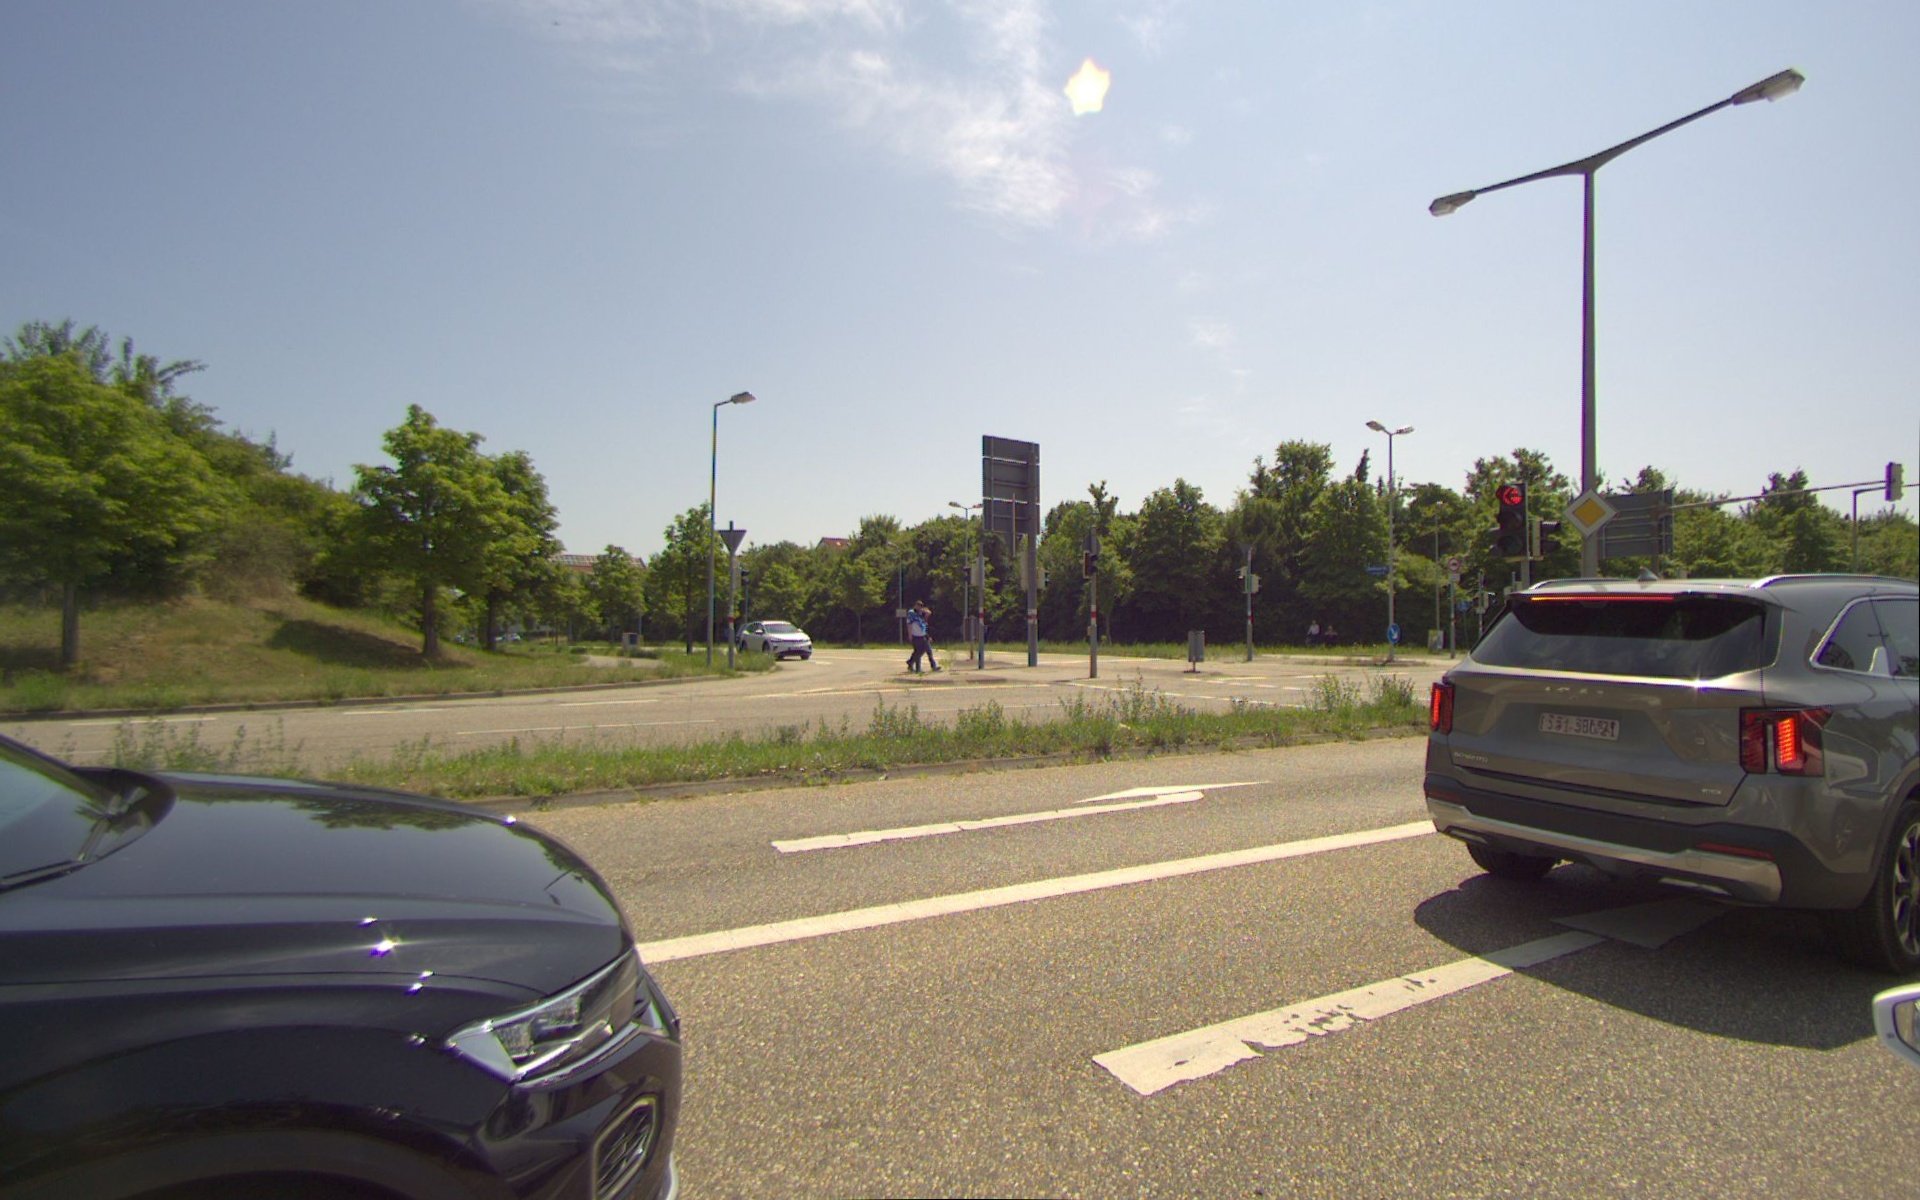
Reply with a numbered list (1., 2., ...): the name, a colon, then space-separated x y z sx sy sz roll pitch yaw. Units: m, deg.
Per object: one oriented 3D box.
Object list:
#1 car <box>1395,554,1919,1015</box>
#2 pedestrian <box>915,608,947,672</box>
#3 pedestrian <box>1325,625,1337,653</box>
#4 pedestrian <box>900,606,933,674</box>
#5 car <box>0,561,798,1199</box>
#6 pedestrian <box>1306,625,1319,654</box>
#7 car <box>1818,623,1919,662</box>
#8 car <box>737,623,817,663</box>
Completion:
1. car: 4.690 0.736 5.633 4.590 1.684 1.795 1 -1 -30
2. pedestrian: -0.805 1.091 27.498 0.761 1.722 0.723 0 -1 -11
3. pedestrian: 20.601 2.174 55.793 0.606 1.523 0.798 0 -1 24
4. pedestrian: -1.153 1.046 26.466 0.779 1.759 0.582 0 -1 -11
5. car: -2.404 0.685 1.436 3.924 1.532 1.726 2 0 -30
6. pedestrian: 19.734 2.187 56.247 0.606 1.624 0.798 -1 -1 24
7. car: 35.659 1.634 39.410 4.119 1.475 1.814 1 -1 -30
8. car: -7.756 1.782 42.314 1.858 1.522 4.273 -2 -1 -32
